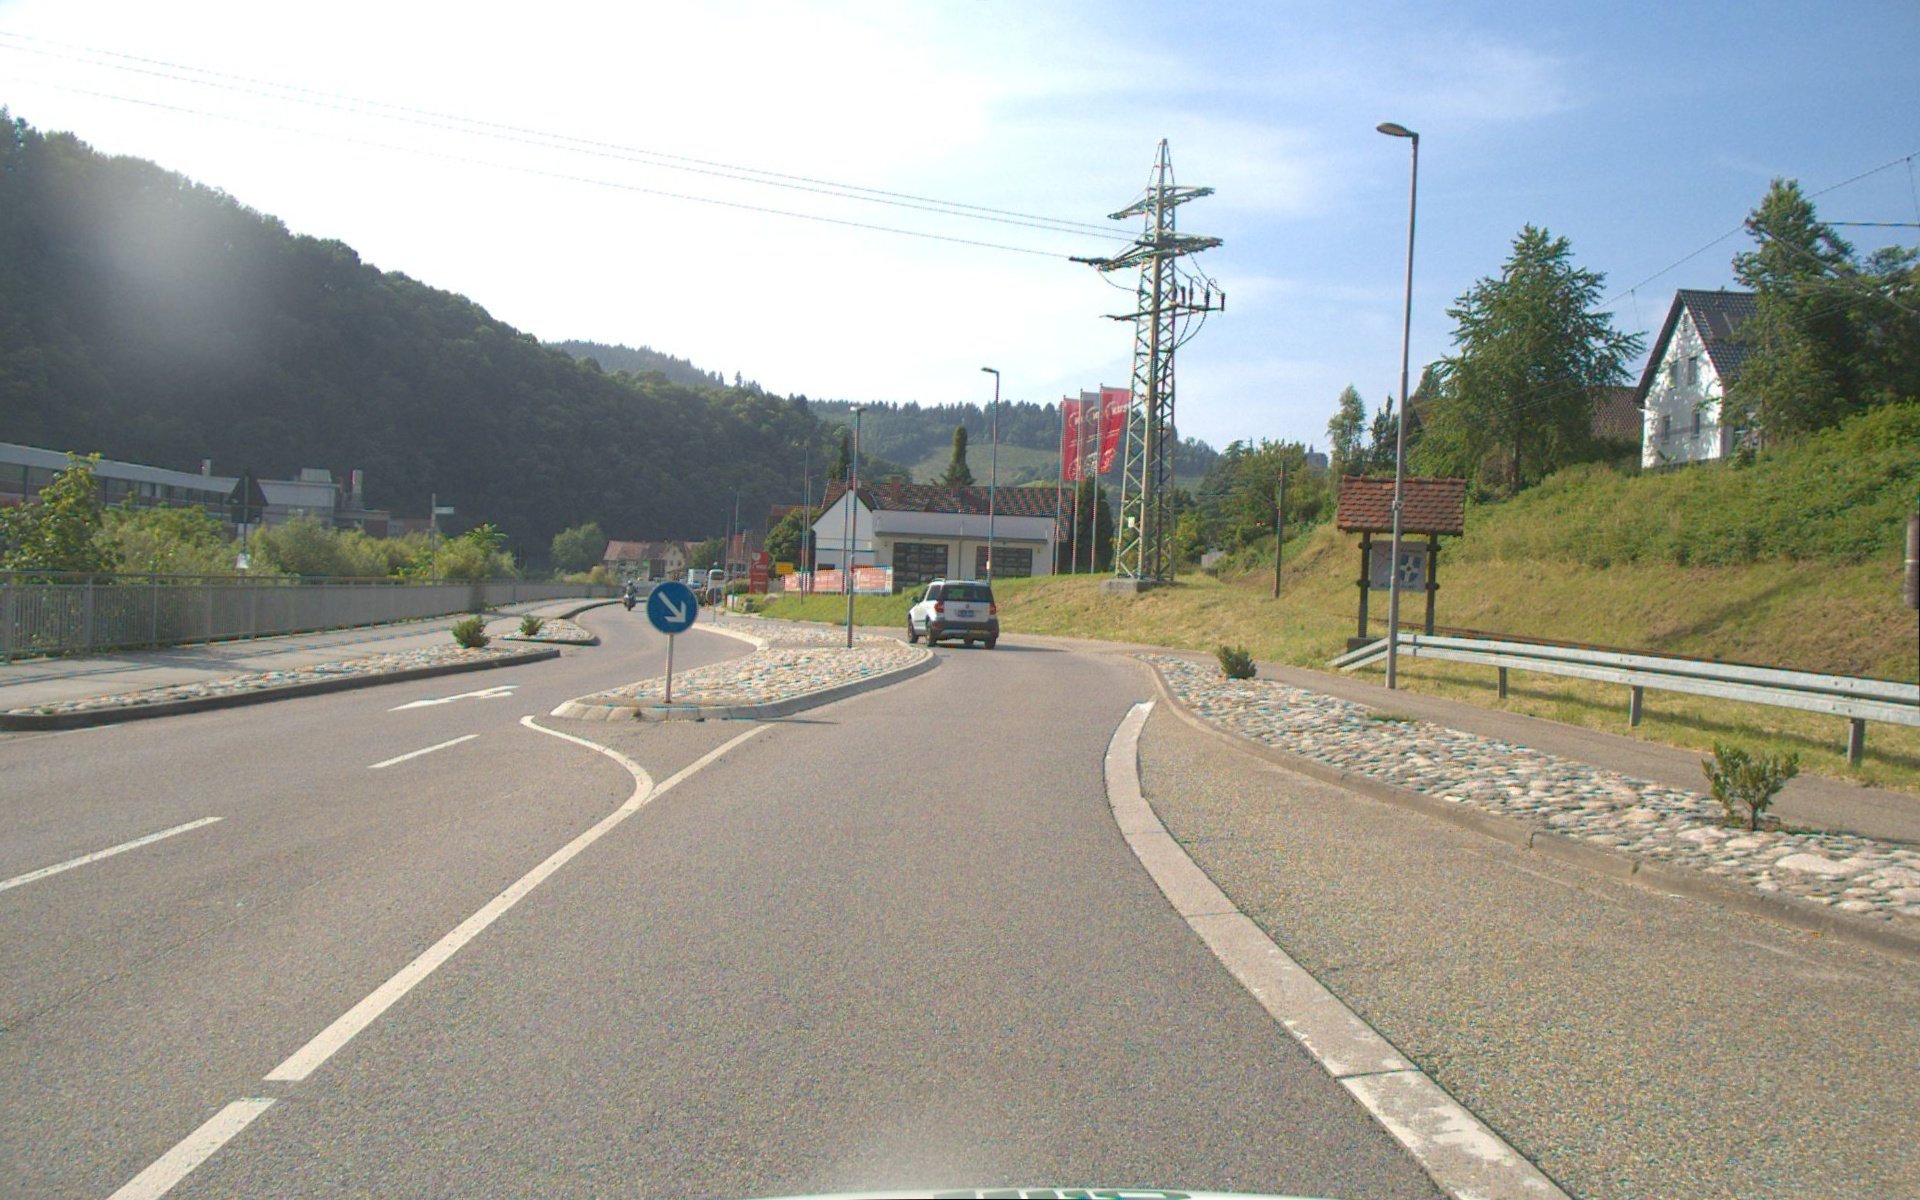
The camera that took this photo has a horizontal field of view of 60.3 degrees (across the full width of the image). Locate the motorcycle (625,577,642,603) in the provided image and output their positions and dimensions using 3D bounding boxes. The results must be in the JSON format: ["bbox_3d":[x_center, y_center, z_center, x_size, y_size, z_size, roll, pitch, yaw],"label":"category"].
[{"bbox_3d":[-18.610,-0.584,94.298,0.758,1.447,2.315,1,0,-7],"label":"motorcycle"}]

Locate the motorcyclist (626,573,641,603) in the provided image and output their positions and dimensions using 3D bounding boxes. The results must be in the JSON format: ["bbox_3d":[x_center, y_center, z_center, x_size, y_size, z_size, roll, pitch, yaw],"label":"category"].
[{"bbox_3d":[-18.608,-0.690,94.333,0.748,1.707,0.726,1,-1,-7],"label":"motorcyclist"}]

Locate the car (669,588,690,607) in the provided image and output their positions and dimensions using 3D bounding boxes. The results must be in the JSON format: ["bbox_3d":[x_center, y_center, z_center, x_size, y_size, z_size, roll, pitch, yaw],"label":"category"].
[{"bbox_3d":[-23.138,-0.215,136.549,1.425,1.460,2.932,3,1,-6],"label":"car"}]

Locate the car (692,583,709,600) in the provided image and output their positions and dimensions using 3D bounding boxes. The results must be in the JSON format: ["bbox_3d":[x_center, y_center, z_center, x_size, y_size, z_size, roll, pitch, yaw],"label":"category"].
[{"bbox_3d":[-23.077,-0.756,147.288,1.331,1.460,2.835,3,1,-7],"label":"car"}]

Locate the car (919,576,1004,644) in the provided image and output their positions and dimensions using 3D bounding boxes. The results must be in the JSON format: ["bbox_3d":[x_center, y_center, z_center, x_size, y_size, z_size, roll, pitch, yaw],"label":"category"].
[{"bbox_3d":[-0.010,0.246,42.453,1.824,1.571,4.369,3,0,-4],"label":"car"}]
